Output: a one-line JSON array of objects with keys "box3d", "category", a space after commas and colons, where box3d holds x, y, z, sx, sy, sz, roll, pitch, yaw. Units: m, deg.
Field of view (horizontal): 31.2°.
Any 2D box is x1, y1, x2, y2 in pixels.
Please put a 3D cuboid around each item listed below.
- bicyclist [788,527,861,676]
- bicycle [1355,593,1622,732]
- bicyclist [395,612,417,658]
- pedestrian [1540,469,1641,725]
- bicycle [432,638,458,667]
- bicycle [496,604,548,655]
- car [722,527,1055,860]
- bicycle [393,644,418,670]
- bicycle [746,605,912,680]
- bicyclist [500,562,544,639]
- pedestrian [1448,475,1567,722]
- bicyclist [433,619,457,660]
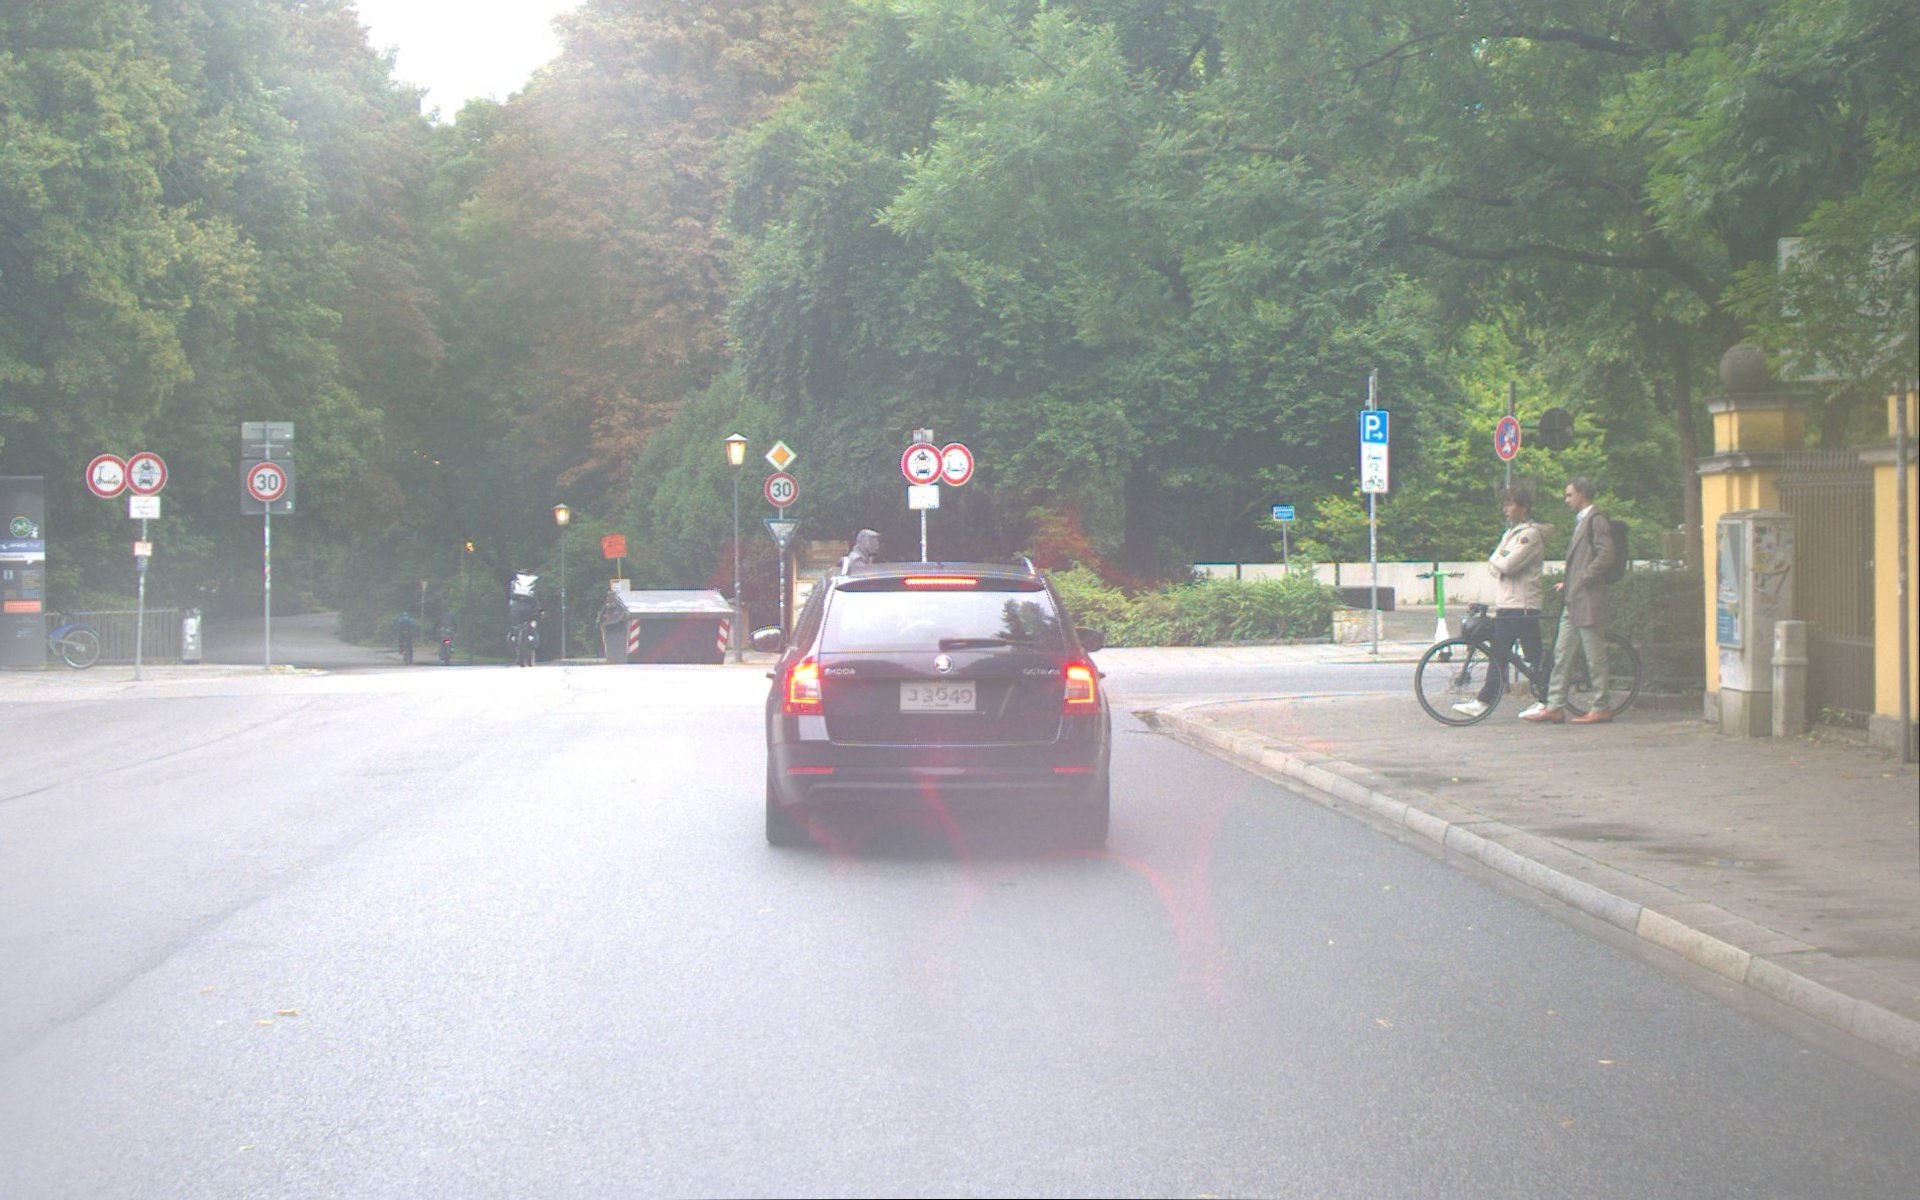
[{"box3d": [-1.454, 0.012, 36.925, 0.750, 1.579, 0.656, -1, 0, 0], "category": "bicyclist"}, {"box3d": [4.094, 0.476, 26.662, 1.905, 0.946, 0.582, -3, 0, -10], "category": "bicycle"}, {"box3d": [-18.309, 1.158, 113.607, 0.680, 1.499, 0.901, -1, 1, -12], "category": "bicyclist"}, {"box3d": [4.795, -0.025, 26.158, 0.541, 1.912, 0.492, -3, 0, -10], "category": "pedestrian"}, {"box3d": [-15.167, 1.544, 101.310, 0.679, 0.827, 2.110, -1, 0, -7], "category": "bicycle"}, {"box3d": [-7.406, 0.493, 58.186, 0.679, 0.827, 2.110, -1, 0, -2], "category": "bicycle"}, {"box3d": [-0.359, 0.424, 18.453, 1.577, 1.578, 4.044, -1, 1, 0], "category": "car"}, {"box3d": [-18.285, 1.887, 113.421, 0.679, 0.827, 2.110, -1, 0, -13], "category": "bicycle"}, {"box3d": [-1.403, 0.455, 36.921, 1.763, 0.794, 0.570, 0, 0, 0], "category": "bicycle"}, {"box3d": [-7.425, 0.007, 58.275, 0.680, 1.278, 0.599, -1, 1, -2], "category": "bicyclist"}, {"box3d": [4.347, -0.011, 27.321, 0.674, 1.912, 0.641, -3, 0, -10], "category": "pedestrian"}, {"box3d": [-15.174, 1.170, 101.325, 0.680, 1.183, 0.481, -1, 1, -7], "category": "bicyclist"}]
